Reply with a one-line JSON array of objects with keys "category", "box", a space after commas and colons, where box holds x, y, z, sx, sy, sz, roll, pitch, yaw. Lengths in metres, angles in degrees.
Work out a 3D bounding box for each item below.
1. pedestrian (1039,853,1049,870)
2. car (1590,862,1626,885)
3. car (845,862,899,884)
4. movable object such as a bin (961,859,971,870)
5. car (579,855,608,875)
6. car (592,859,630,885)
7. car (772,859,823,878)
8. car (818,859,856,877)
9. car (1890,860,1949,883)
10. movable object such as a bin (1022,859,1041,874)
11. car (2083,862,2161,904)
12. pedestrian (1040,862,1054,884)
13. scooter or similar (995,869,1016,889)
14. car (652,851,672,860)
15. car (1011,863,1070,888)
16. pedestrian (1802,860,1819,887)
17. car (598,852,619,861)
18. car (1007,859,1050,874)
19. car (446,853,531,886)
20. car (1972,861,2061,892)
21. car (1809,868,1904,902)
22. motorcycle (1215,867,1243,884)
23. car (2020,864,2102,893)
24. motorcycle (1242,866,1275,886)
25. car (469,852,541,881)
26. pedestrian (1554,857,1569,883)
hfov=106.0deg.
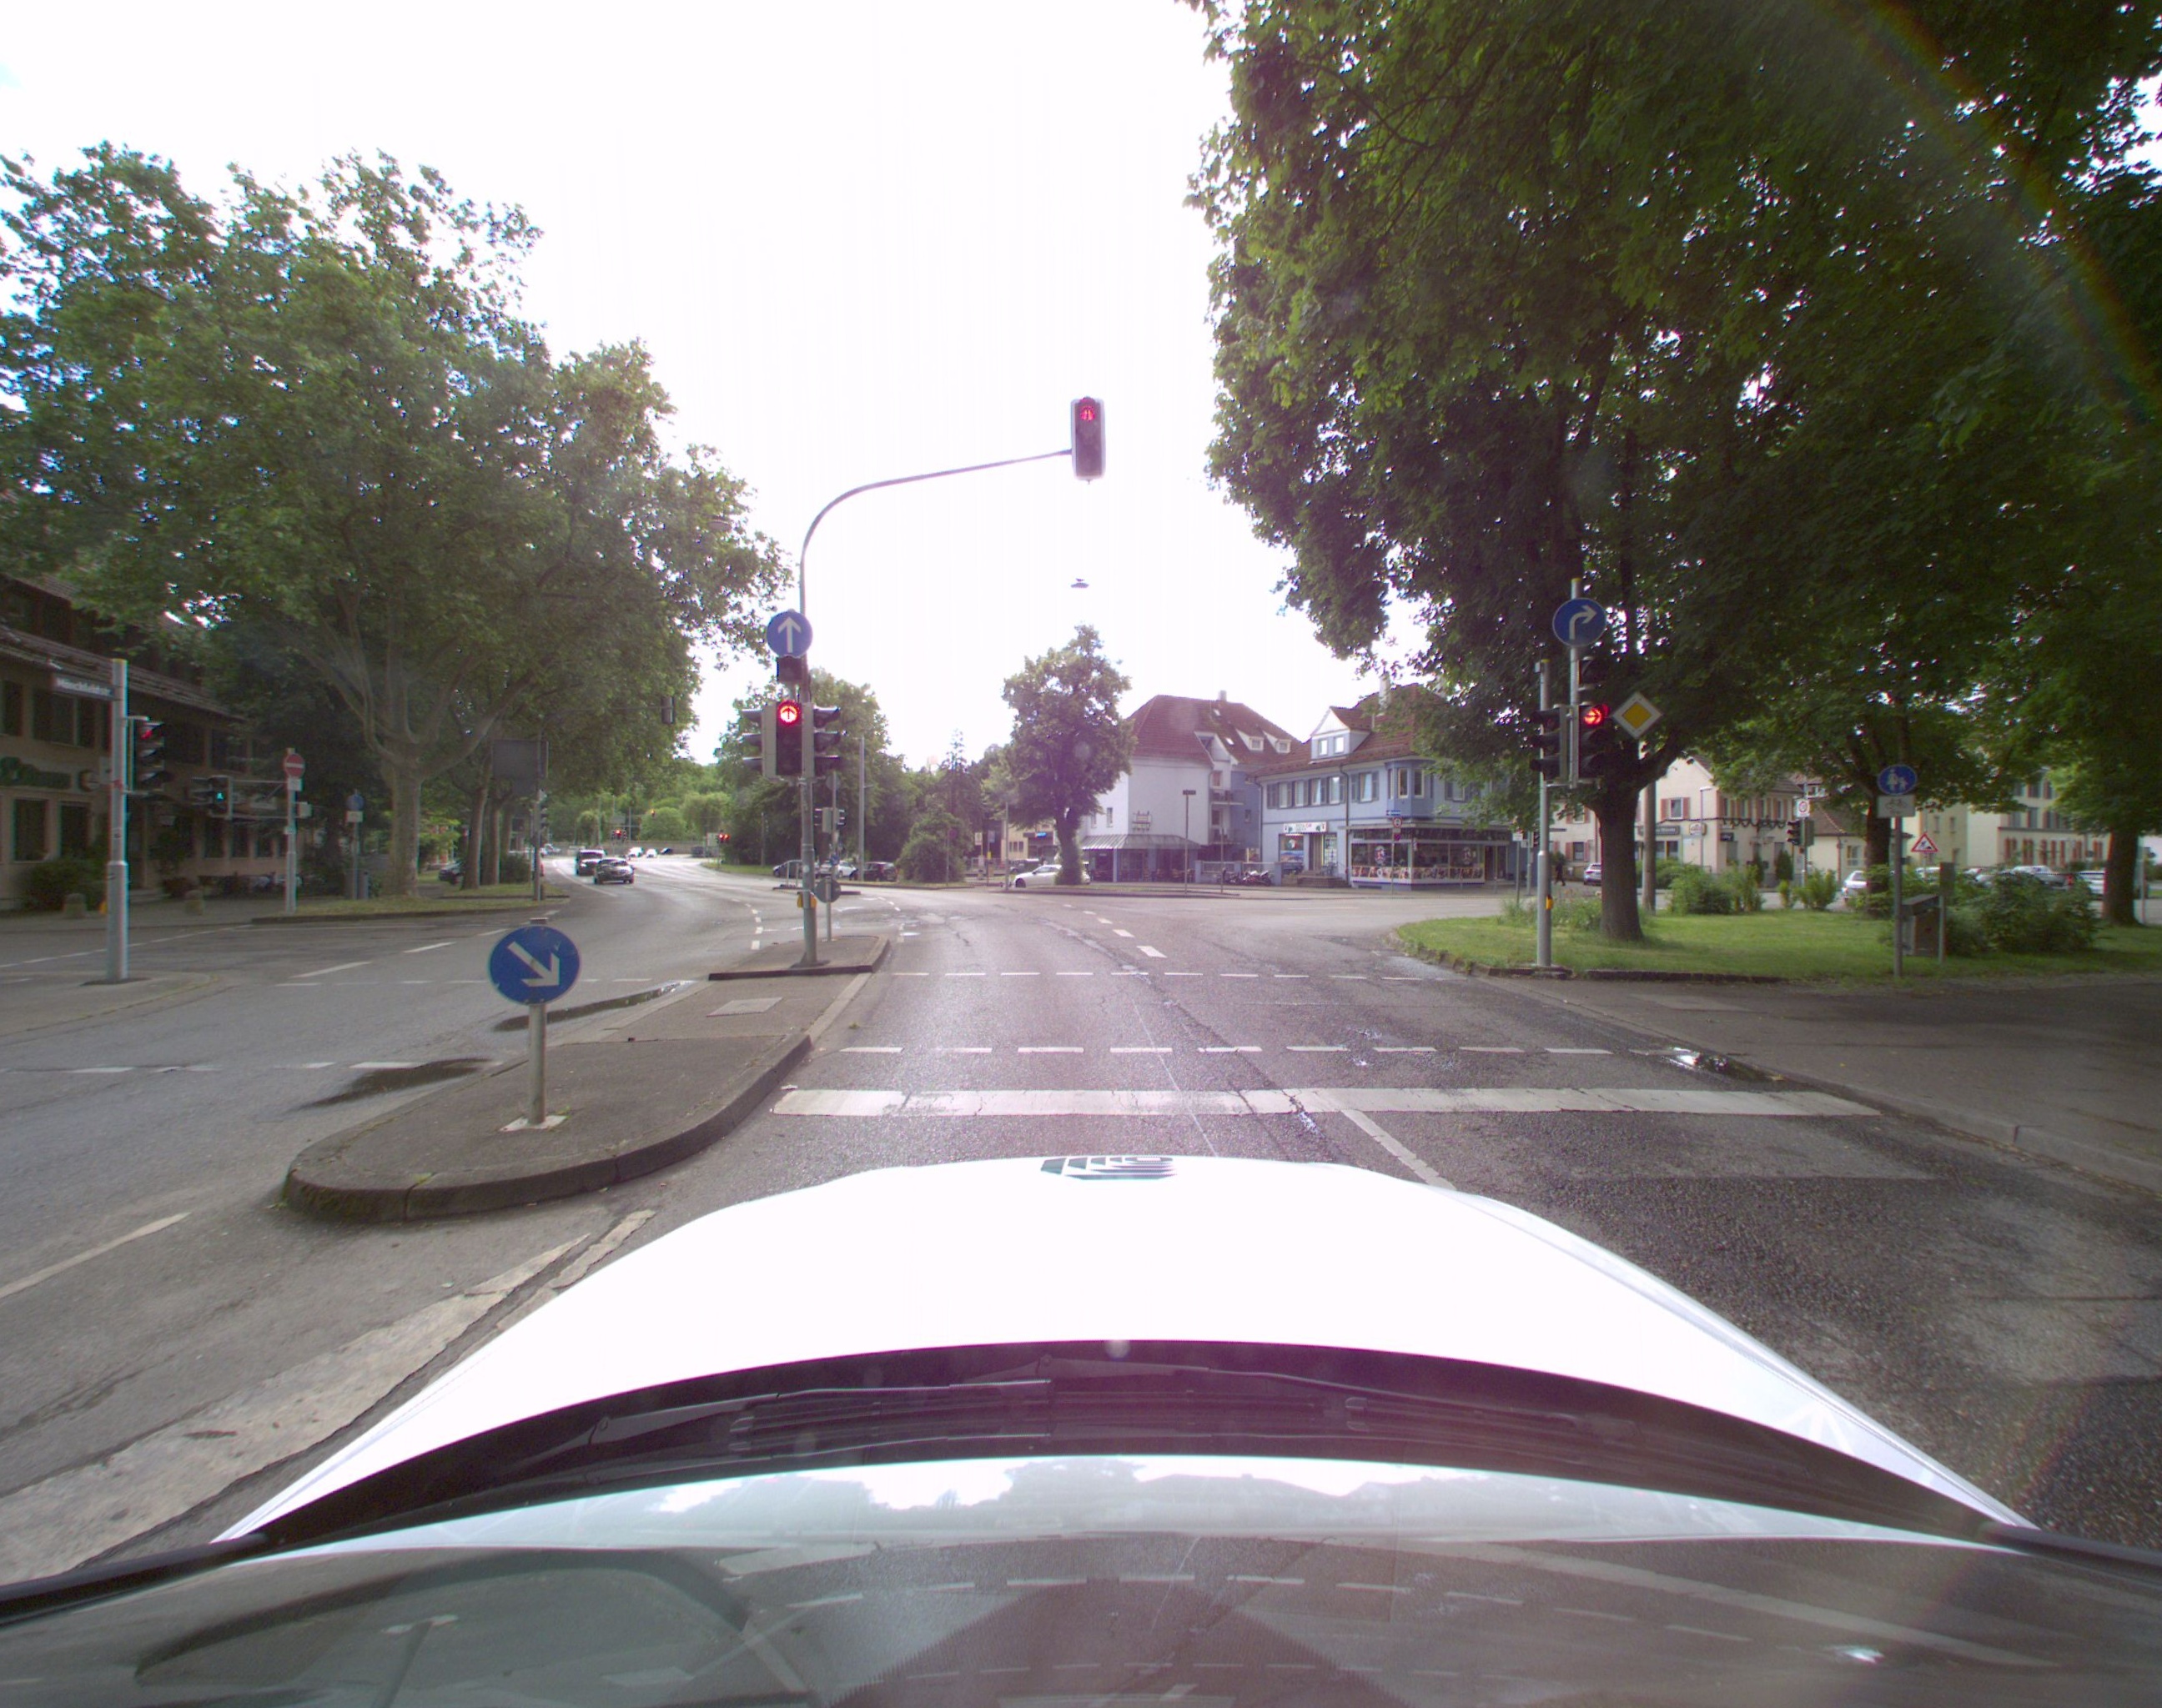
[{"category": "pedestrian", "box": [-3.417, 0.698, 75.591, 0.709, 1.545, 0.673, 0, -1, -24]}, {"category": "car", "box": [32.600, 1.187, 50.335, 1.481, 1.369, 3.198, -1, -1, 40]}, {"category": "car", "box": [-13.910, 1.268, 54.200, 3.549, 1.394, 1.481, 0, -1, 34]}, {"category": "movable object such as a bin", "box": [-12.223, 1.123, 86.634, 0.953, 1.115, 0.381, 0, -1, -19]}, {"category": "car", "box": [-36.235, 0.829, 60.493, 1.440, 1.416, 2.838, 0, -1, -39]}, {"category": "car", "box": [-27.354, 1.049, 47.359, 1.440, 1.416, 2.838, 0, -1, -39]}, {"category": "car", "box": [-22.441, 1.116, 64.480, 3.520, 1.464, 1.591, 0, 0, 14]}, {"category": "car", "box": [-20.082, 1.132, 67.182, 1.534, 1.464, 3.407, 0, 0, 13]}, {"category": "car", "box": [55.113, 1.130, 53.523, 4.007, 1.420, 1.544, 0, 0, -26]}, {"category": "movable object such as a bin", "box": [-4.526, 1.136, 74.243, 1.447, 1.409, 0.959, 0, -1, -25]}, {"category": "car", "box": [52.828, 1.438, 41.119, 4.004, 2.014, 1.770, 0, -1, -23]}, {"category": "pedestrian", "box": [-2.419, 1.309, 57.847, 0.759, 1.545, 0.682, -1, -1, 41]}, {"category": "scooter or similar", "box": [-3.980, 1.291, 42.876, 0.413, 1.011, 1.575, -1, -1, 22]}, {"category": "car", "box": [-95.498, 0.439, 185.600, 4.011, 2.014, 1.981, 0, -1, -29]}, {"category": "car", "box": [-2.311, 1.203, 46.233, 3.134, 1.354, 1.448, 0, -1, 36]}, {"category": "pedestrian", "box": [44.385, 1.178, 49.559, 0.611, 1.649, 0.606, 0, -1, -27]}, {"category": "car", "box": [-106.177, 0.496, 183.024, 4.011, 2.014, 1.981, 0, -1, -29]}, {"category": "car", "box": [-4.884, 1.137, 76.151, 3.752, 1.345, 1.422, 0, 0, -25]}, {"category": "car", "box": [-31.004, 0.785, 42.713, 3.461, 1.641, 1.557, 0, -1, -31]}, {"category": "car", "box": [42.213, 0.979, 36.746, 3.510, 1.321, 1.549, 0, 0, -21]}, {"category": "car", "box": [31.959, 1.254, 33.562, 3.511, 1.321, 1.549, 0, 0, -22]}, {"category": "motorcycle", "box": [9.111, 1.316, 50.072, 0.699, 1.064, 1.617, 0, -1, -44]}, {"category": "car", "box": [47.000, 1.169, 39.053, 3.511, 1.321, 1.549, 0, 0, -22]}, {"category": "motorcycle", "box": [10.532, 1.290, 48.258, 1.777, 1.121, 0.699, 0, -1, 40]}, {"category": "car", "box": [-35.487, 0.757, 50.279, 3.461, 1.742, 1.557, 0, -1, -31]}, {"category": "pedestrian", "box": [28.314, 0.961, 48.012, 0.585, 1.517, 0.458, -1, -1, -6]}]
